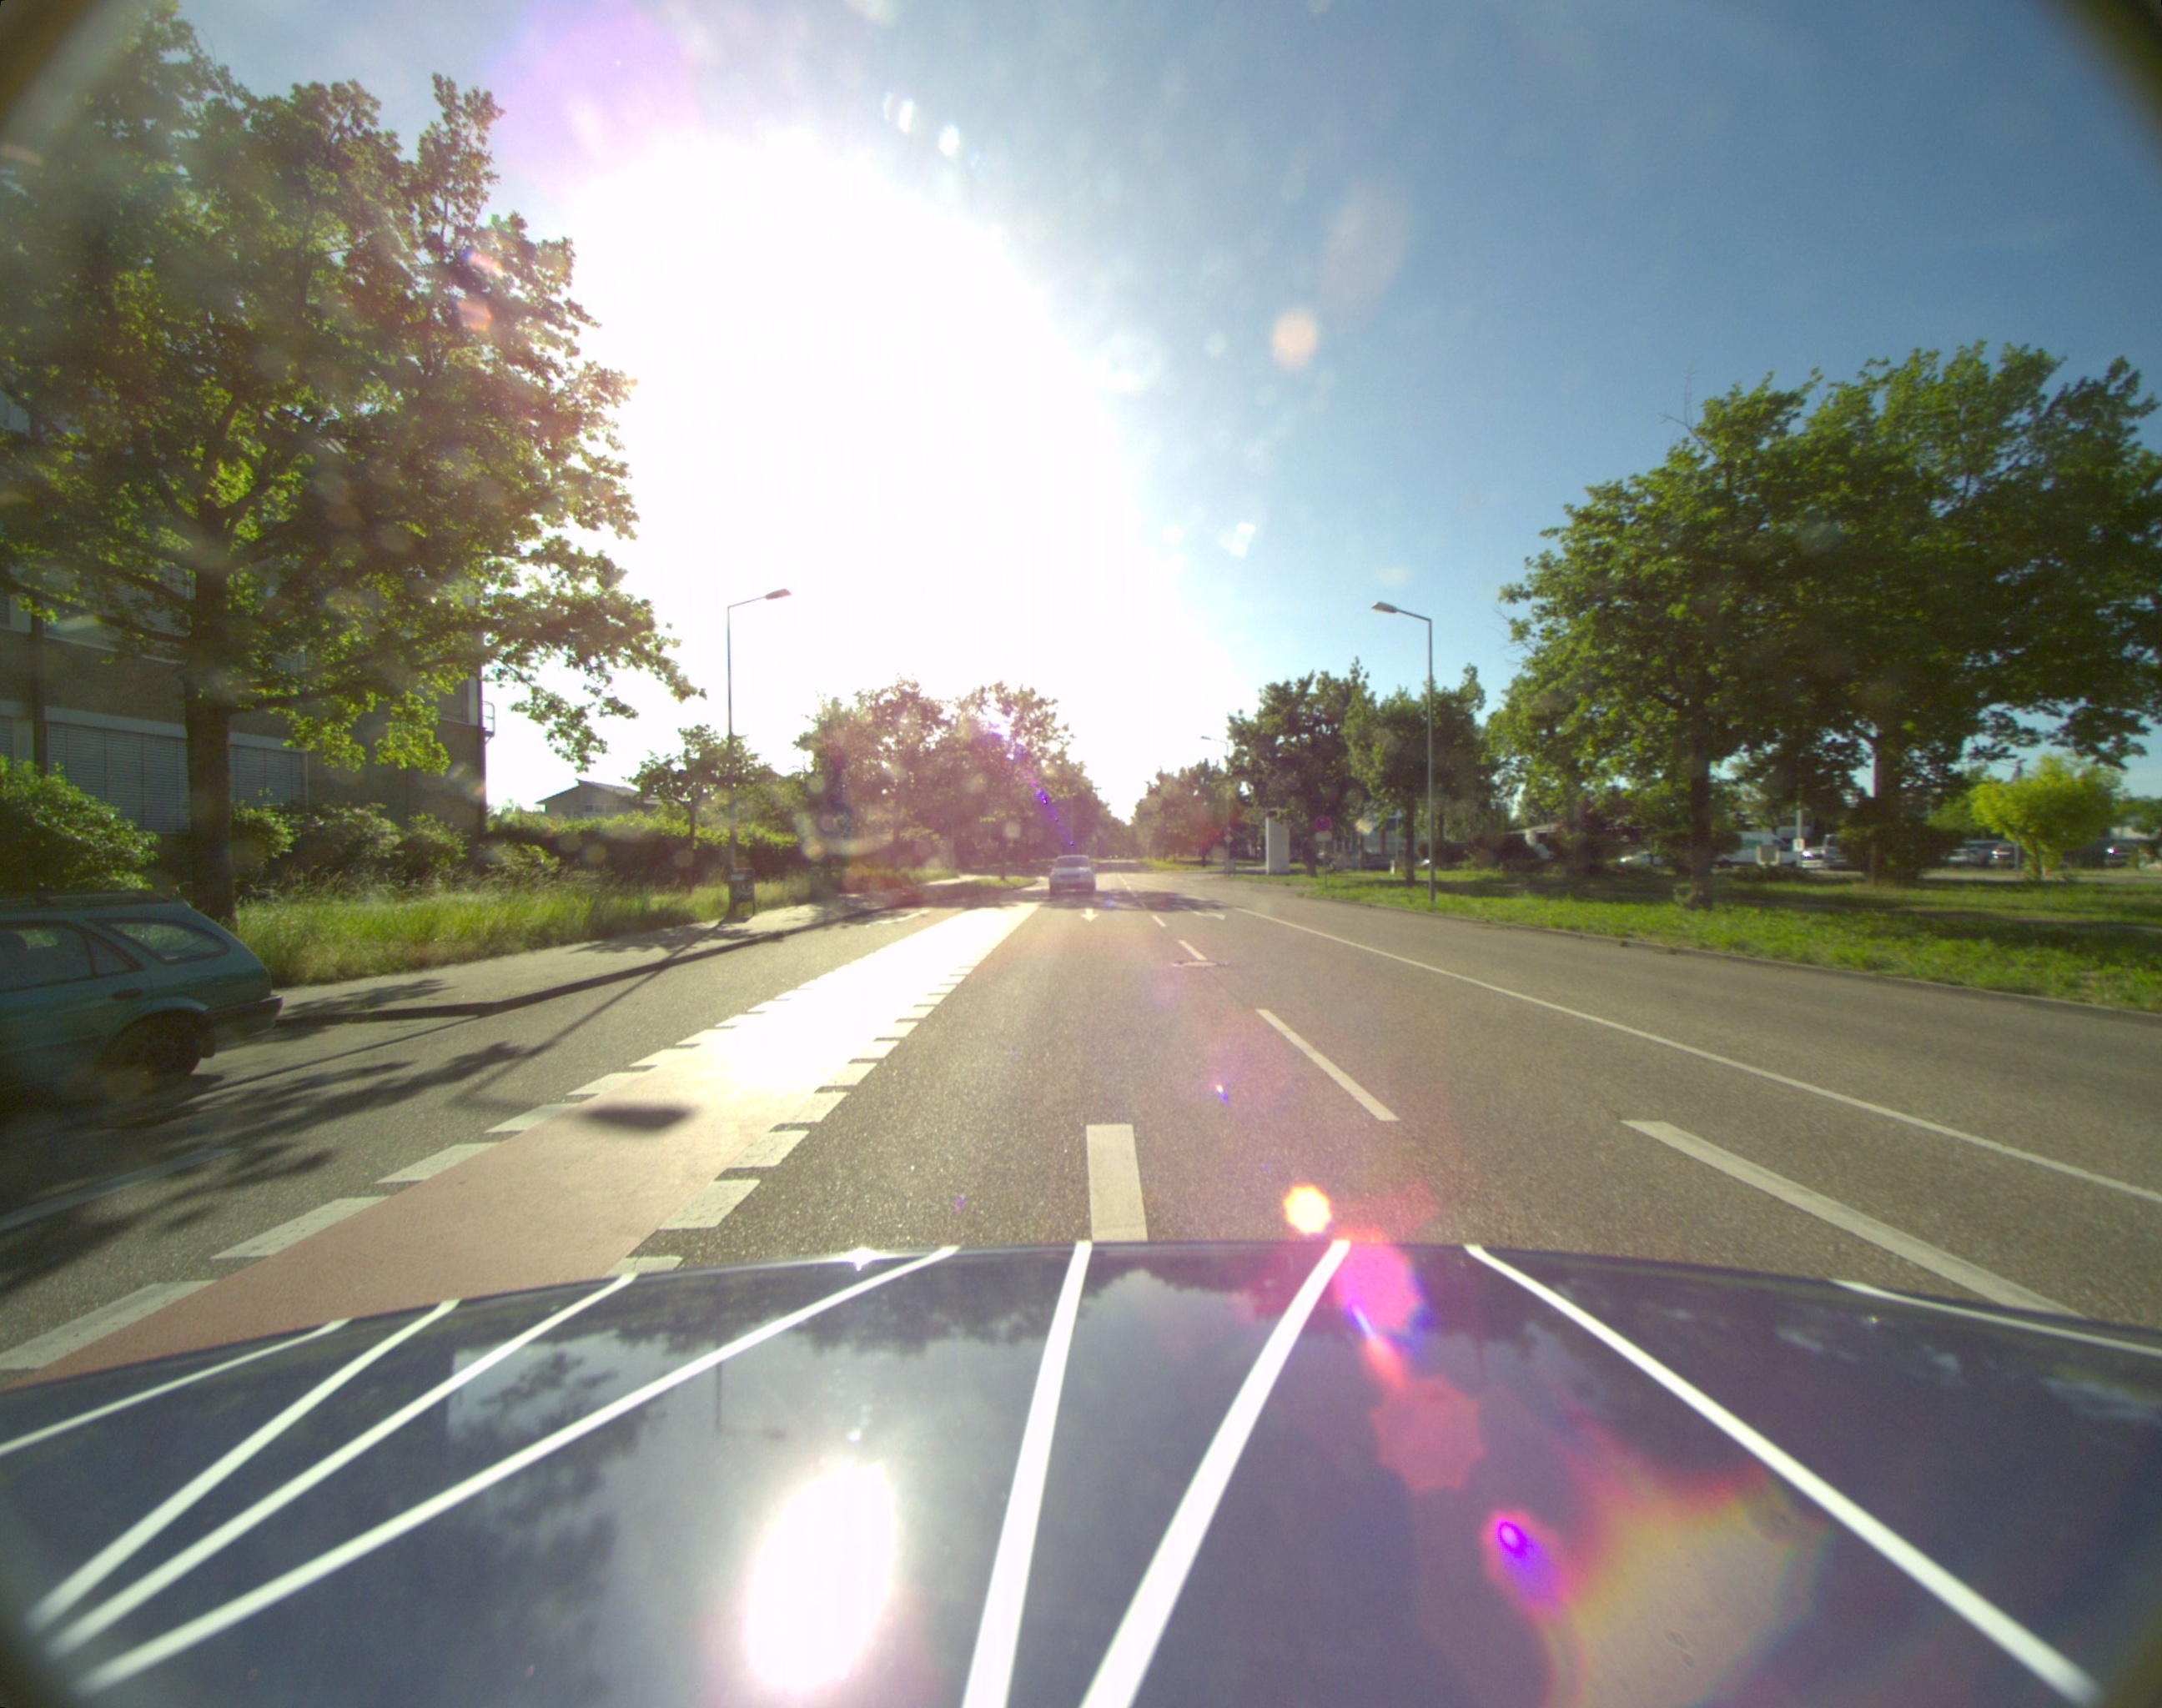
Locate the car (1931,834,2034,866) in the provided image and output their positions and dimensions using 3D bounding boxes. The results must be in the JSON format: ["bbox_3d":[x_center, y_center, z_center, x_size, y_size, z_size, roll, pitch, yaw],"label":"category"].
[{"bbox_3d":[52.086,-0.212,43.964,3.860,1.661,1.762,-2,1,0],"label":"car"}]

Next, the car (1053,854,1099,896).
[{"bbox_3d":[-0.155,0.826,32.075,1.721,1.598,4.068,-2,0,2],"label":"car"}]

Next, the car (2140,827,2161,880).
[{"bbox_3d":[33.885,-0.089,22.043,3.817,1.562,1.736,-2,-1,0],"label":"car"}]

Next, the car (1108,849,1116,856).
[{"bbox_3d":[7.083,-0.294,172.774,1.653,1.460,3.941,-1,0,2],"label":"car"}]

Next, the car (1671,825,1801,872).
[{"bbox_3d":[39.897,-0.342,46.401,6.023,2.540,2.409,-2,1,-4],"label":"car"}]

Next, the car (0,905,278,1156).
[{"bbox_3d":[-7.527,1.131,4.223,1.706,1.460,4.141,-1,-1,0],"label":"car"}]

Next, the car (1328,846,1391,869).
[{"bbox_3d":[23.925,0.293,65.374,4.637,1.822,2.000,-2,1,0],"label":"car"}]

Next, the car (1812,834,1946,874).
[{"bbox_3d":[40.058,-0.009,38.224,4.642,1.771,1.990,-2,1,0],"label":"car"}]
